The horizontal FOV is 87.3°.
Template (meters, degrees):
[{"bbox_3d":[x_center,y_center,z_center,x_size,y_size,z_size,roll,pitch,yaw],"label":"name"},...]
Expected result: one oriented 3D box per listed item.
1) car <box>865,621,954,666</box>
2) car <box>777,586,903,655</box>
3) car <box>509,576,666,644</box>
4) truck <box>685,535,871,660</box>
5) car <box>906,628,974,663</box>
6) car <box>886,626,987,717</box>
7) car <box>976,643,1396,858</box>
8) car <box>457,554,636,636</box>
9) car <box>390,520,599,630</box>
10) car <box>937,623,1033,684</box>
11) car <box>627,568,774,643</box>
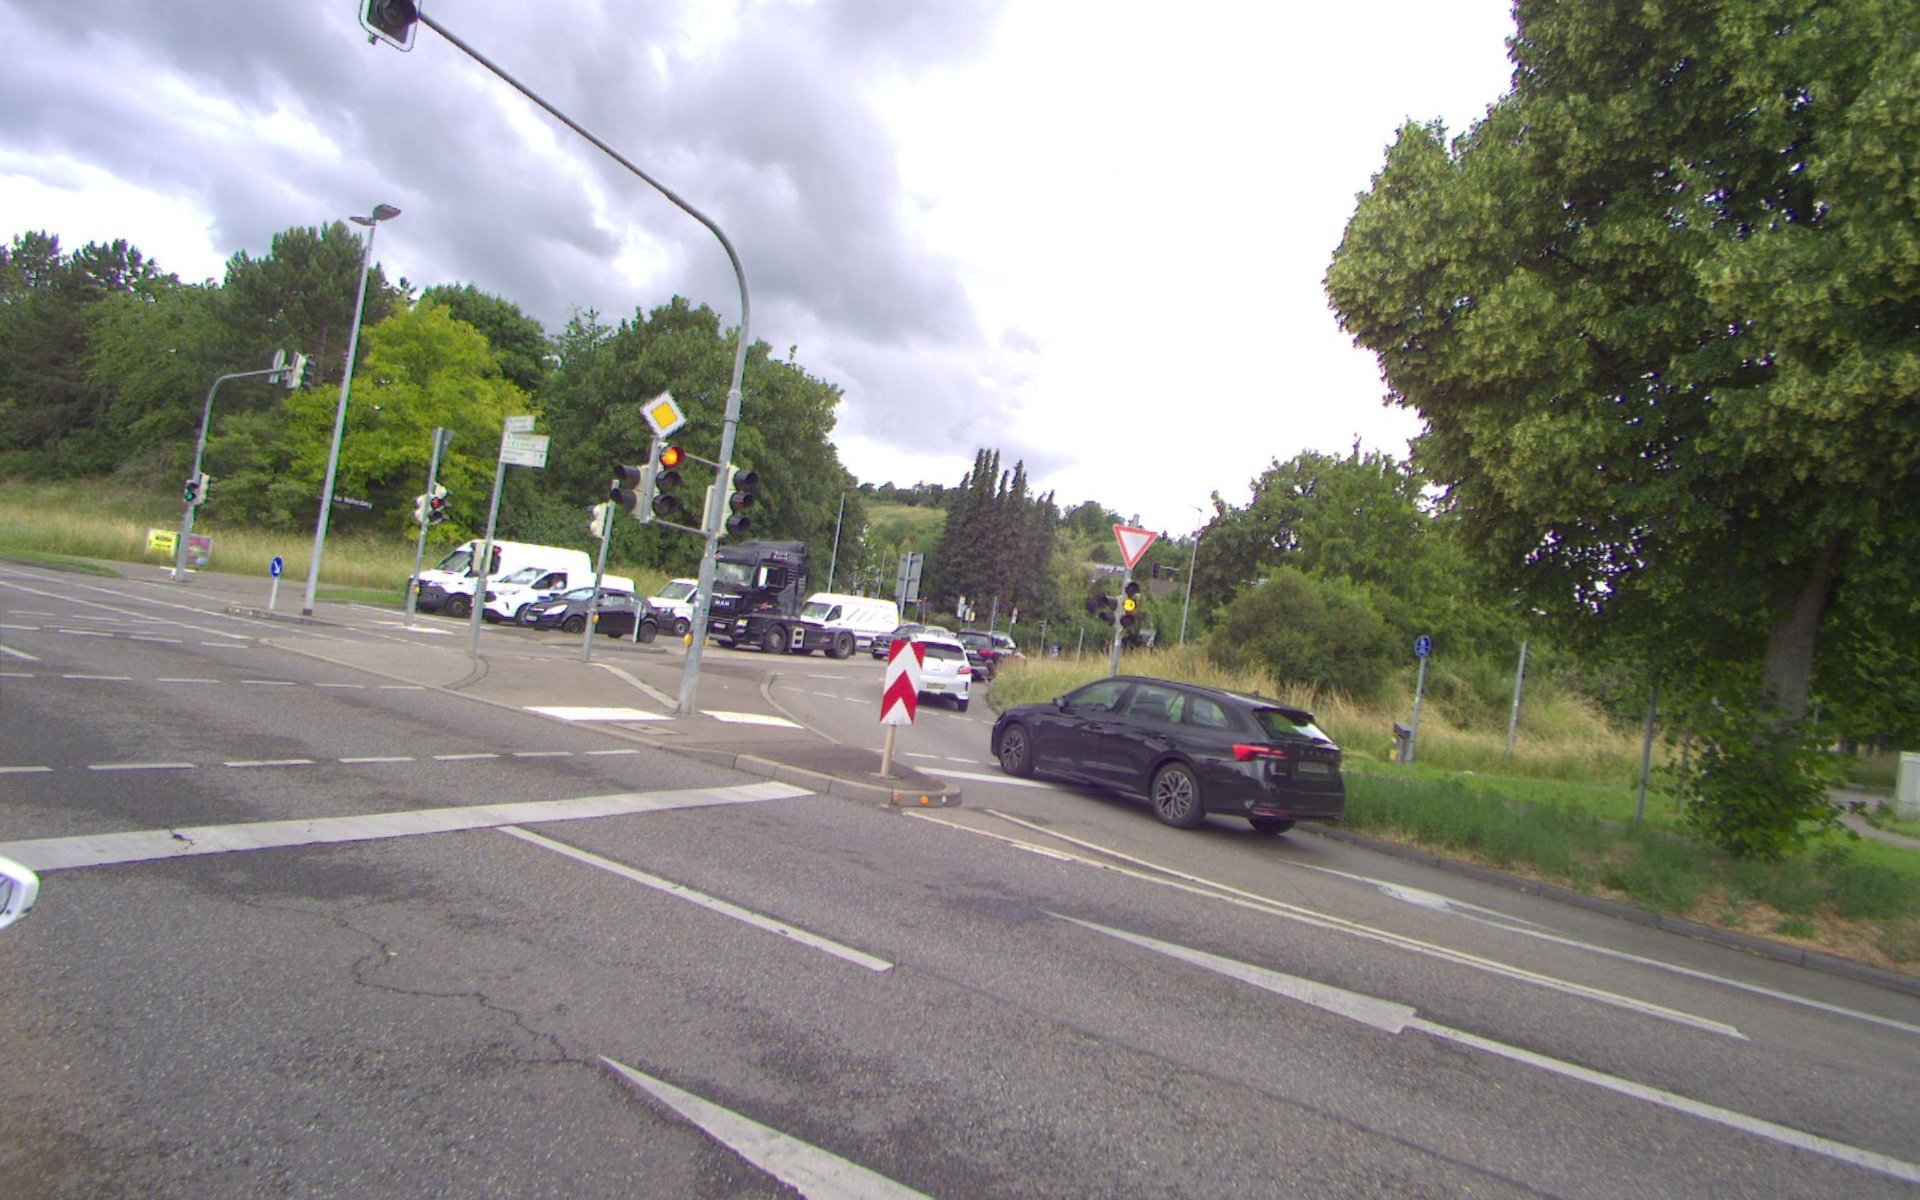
[{"bbox_3d":[-2.062,1.840,42.068,1.703,1.453,3.927,7,-1,31],"label":"car"},{"bbox_3d":[-5.668,1.057,48.616,2.160,2.640,6.509,7,-1,32],"label":"car"},{"bbox_3d":[-10.608,0.339,28.927,1.703,1.453,3.927,7,-1,31],"label":"car"},{"bbox_3d":[-6.214,0.028,35.337,2.682,3.580,6.061,7,-1,32],"label":"truck"},{"bbox_3d":[-1.052,2.492,54.919,1.704,1.453,3.925,7,-1,33],"label":"car"},{"bbox_3d":[-0.621,1.527,22.582,1.756,1.460,3.829,9,0,-6],"label":"car"},{"bbox_3d":[2.315,1.565,11.480,1.772,1.463,4.482,9,-1,-36],"label":"car"},{"bbox_3d":[-12.935,-0.091,31.813,1.999,1.918,4.862,7,-1,31],"label":"car"},{"bbox_3d":[-15.338,-0.733,33.595,2.100,2.814,5.903,7,-1,32],"label":"car"},{"bbox_3d":[0.936,1.856,34.010,1.753,1.668,4.429,9,-2,20],"label":"car"},{"bbox_3d":[-10.427,0.294,40.902,2.100,2.316,5.709,7,-1,32],"label":"car"}]
